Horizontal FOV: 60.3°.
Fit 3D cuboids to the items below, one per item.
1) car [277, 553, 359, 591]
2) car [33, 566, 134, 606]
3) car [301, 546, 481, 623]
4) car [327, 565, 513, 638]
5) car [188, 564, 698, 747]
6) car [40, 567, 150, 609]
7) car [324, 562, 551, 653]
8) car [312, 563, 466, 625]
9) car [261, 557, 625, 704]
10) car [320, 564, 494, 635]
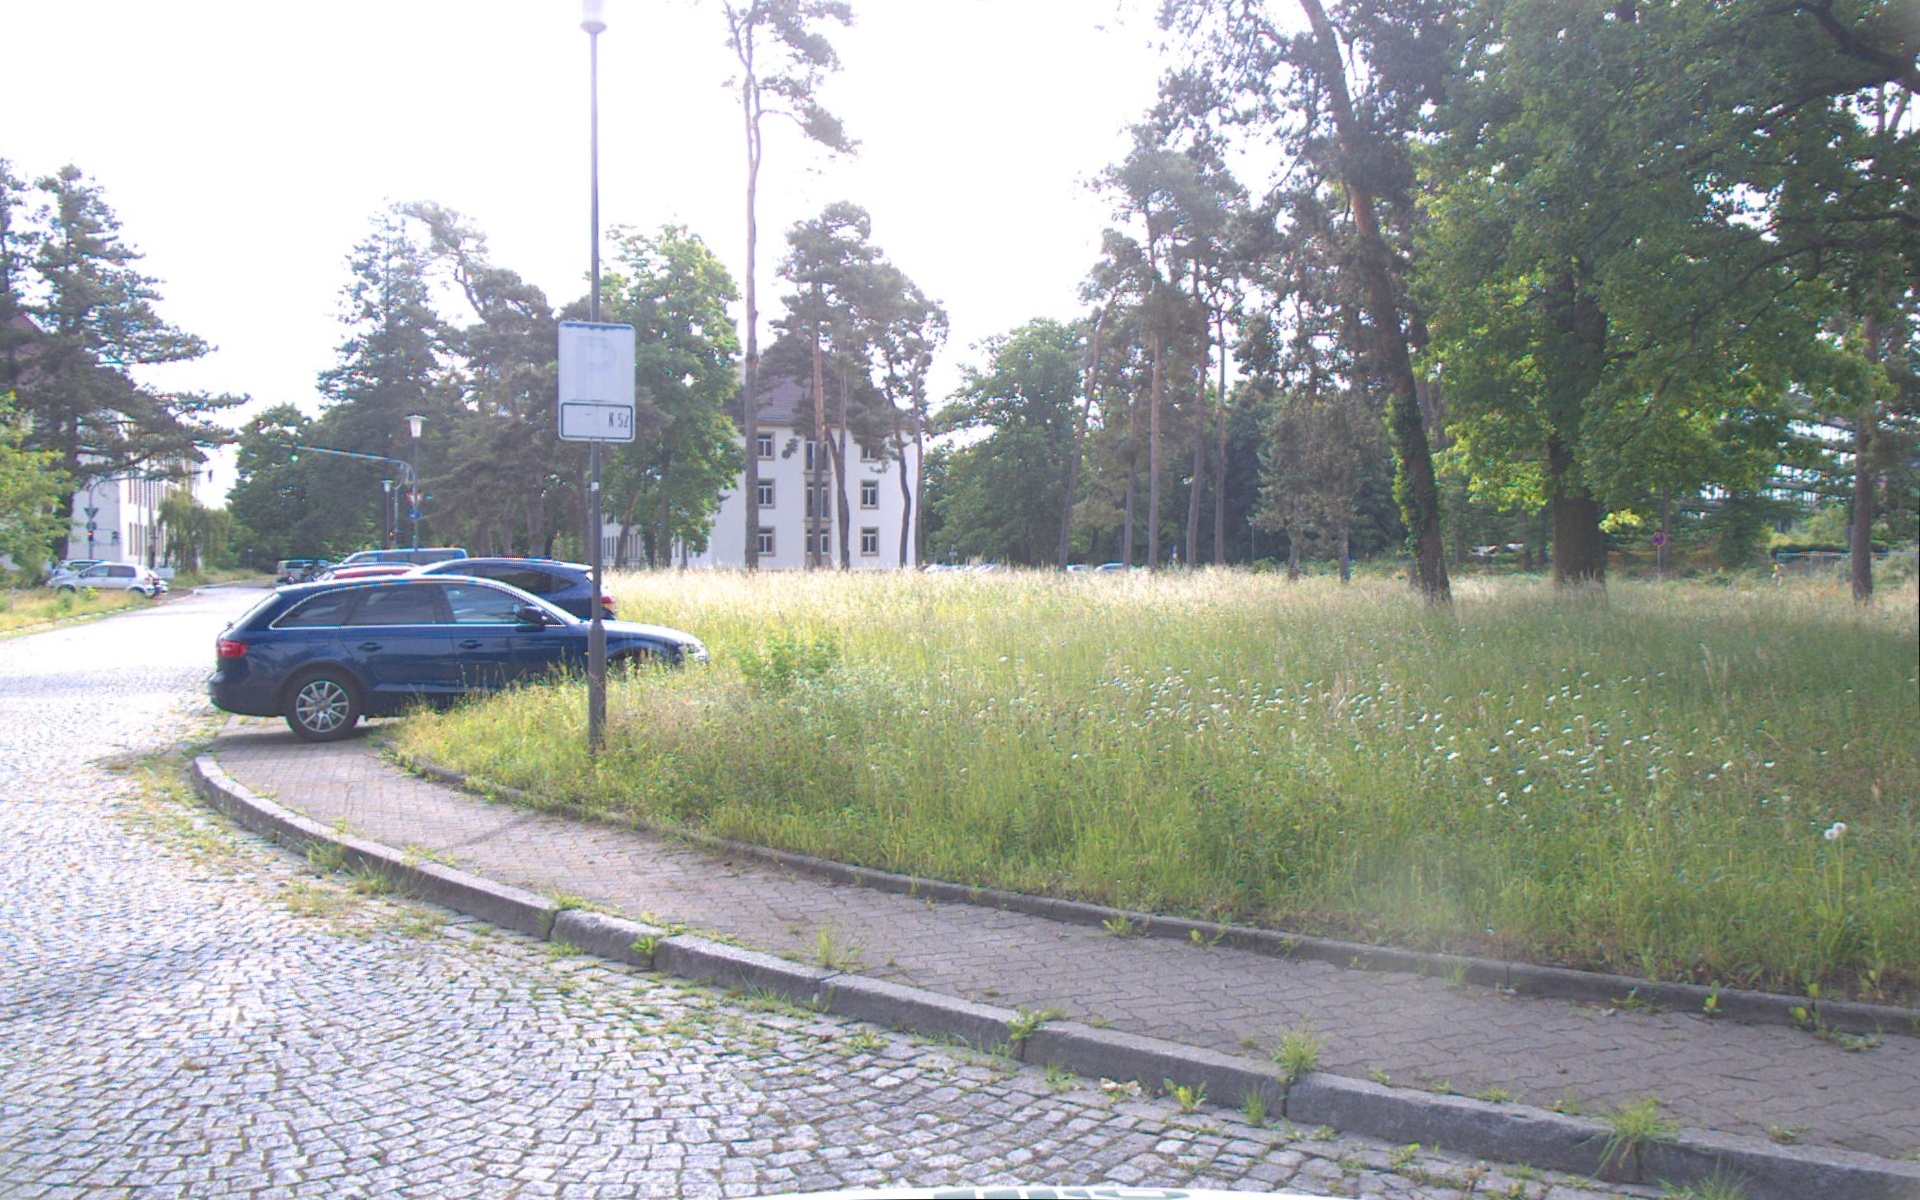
[{"bbox_3d":[-50.949,-2.259,131.257,5.712,2.606,2.747,-4,3,-26],"label":"car"},{"bbox_3d":[-36.975,-0.600,69.846,3.679,1.462,1.611,-3,3,-29],"label":"car"},{"bbox_3d":[-16.452,-0.488,47.816,4.756,1.898,2.147,-4,3,-23],"label":"car"},{"bbox_3d":[-12.178,0.006,37.305,3.884,1.547,1.697,-1,1,-21],"label":"car"},{"bbox_3d":[-4.796,0.448,15.715,4.362,1.505,1.674,-1,1,-18],"label":"car"},{"bbox_3d":[-34.059,-0.488,65.234,3.672,1.462,1.614,-3,3,-25],"label":"car"},{"bbox_3d":[-9.515,0.101,30.132,3.829,1.504,1.661,-2,1,-22],"label":"car"},{"bbox_3d":[-15.657,-0.194,45.339,3.867,1.416,1.731,-4,3,-23],"label":"car"},{"bbox_3d":[-6.322,0.306,20.297,4.080,1.600,1.779,-1,2,-22],"label":"car"},{"bbox_3d":[-13.302,-0.032,39.757,3.854,1.631,1.808,0,1,-24],"label":"car"}]
